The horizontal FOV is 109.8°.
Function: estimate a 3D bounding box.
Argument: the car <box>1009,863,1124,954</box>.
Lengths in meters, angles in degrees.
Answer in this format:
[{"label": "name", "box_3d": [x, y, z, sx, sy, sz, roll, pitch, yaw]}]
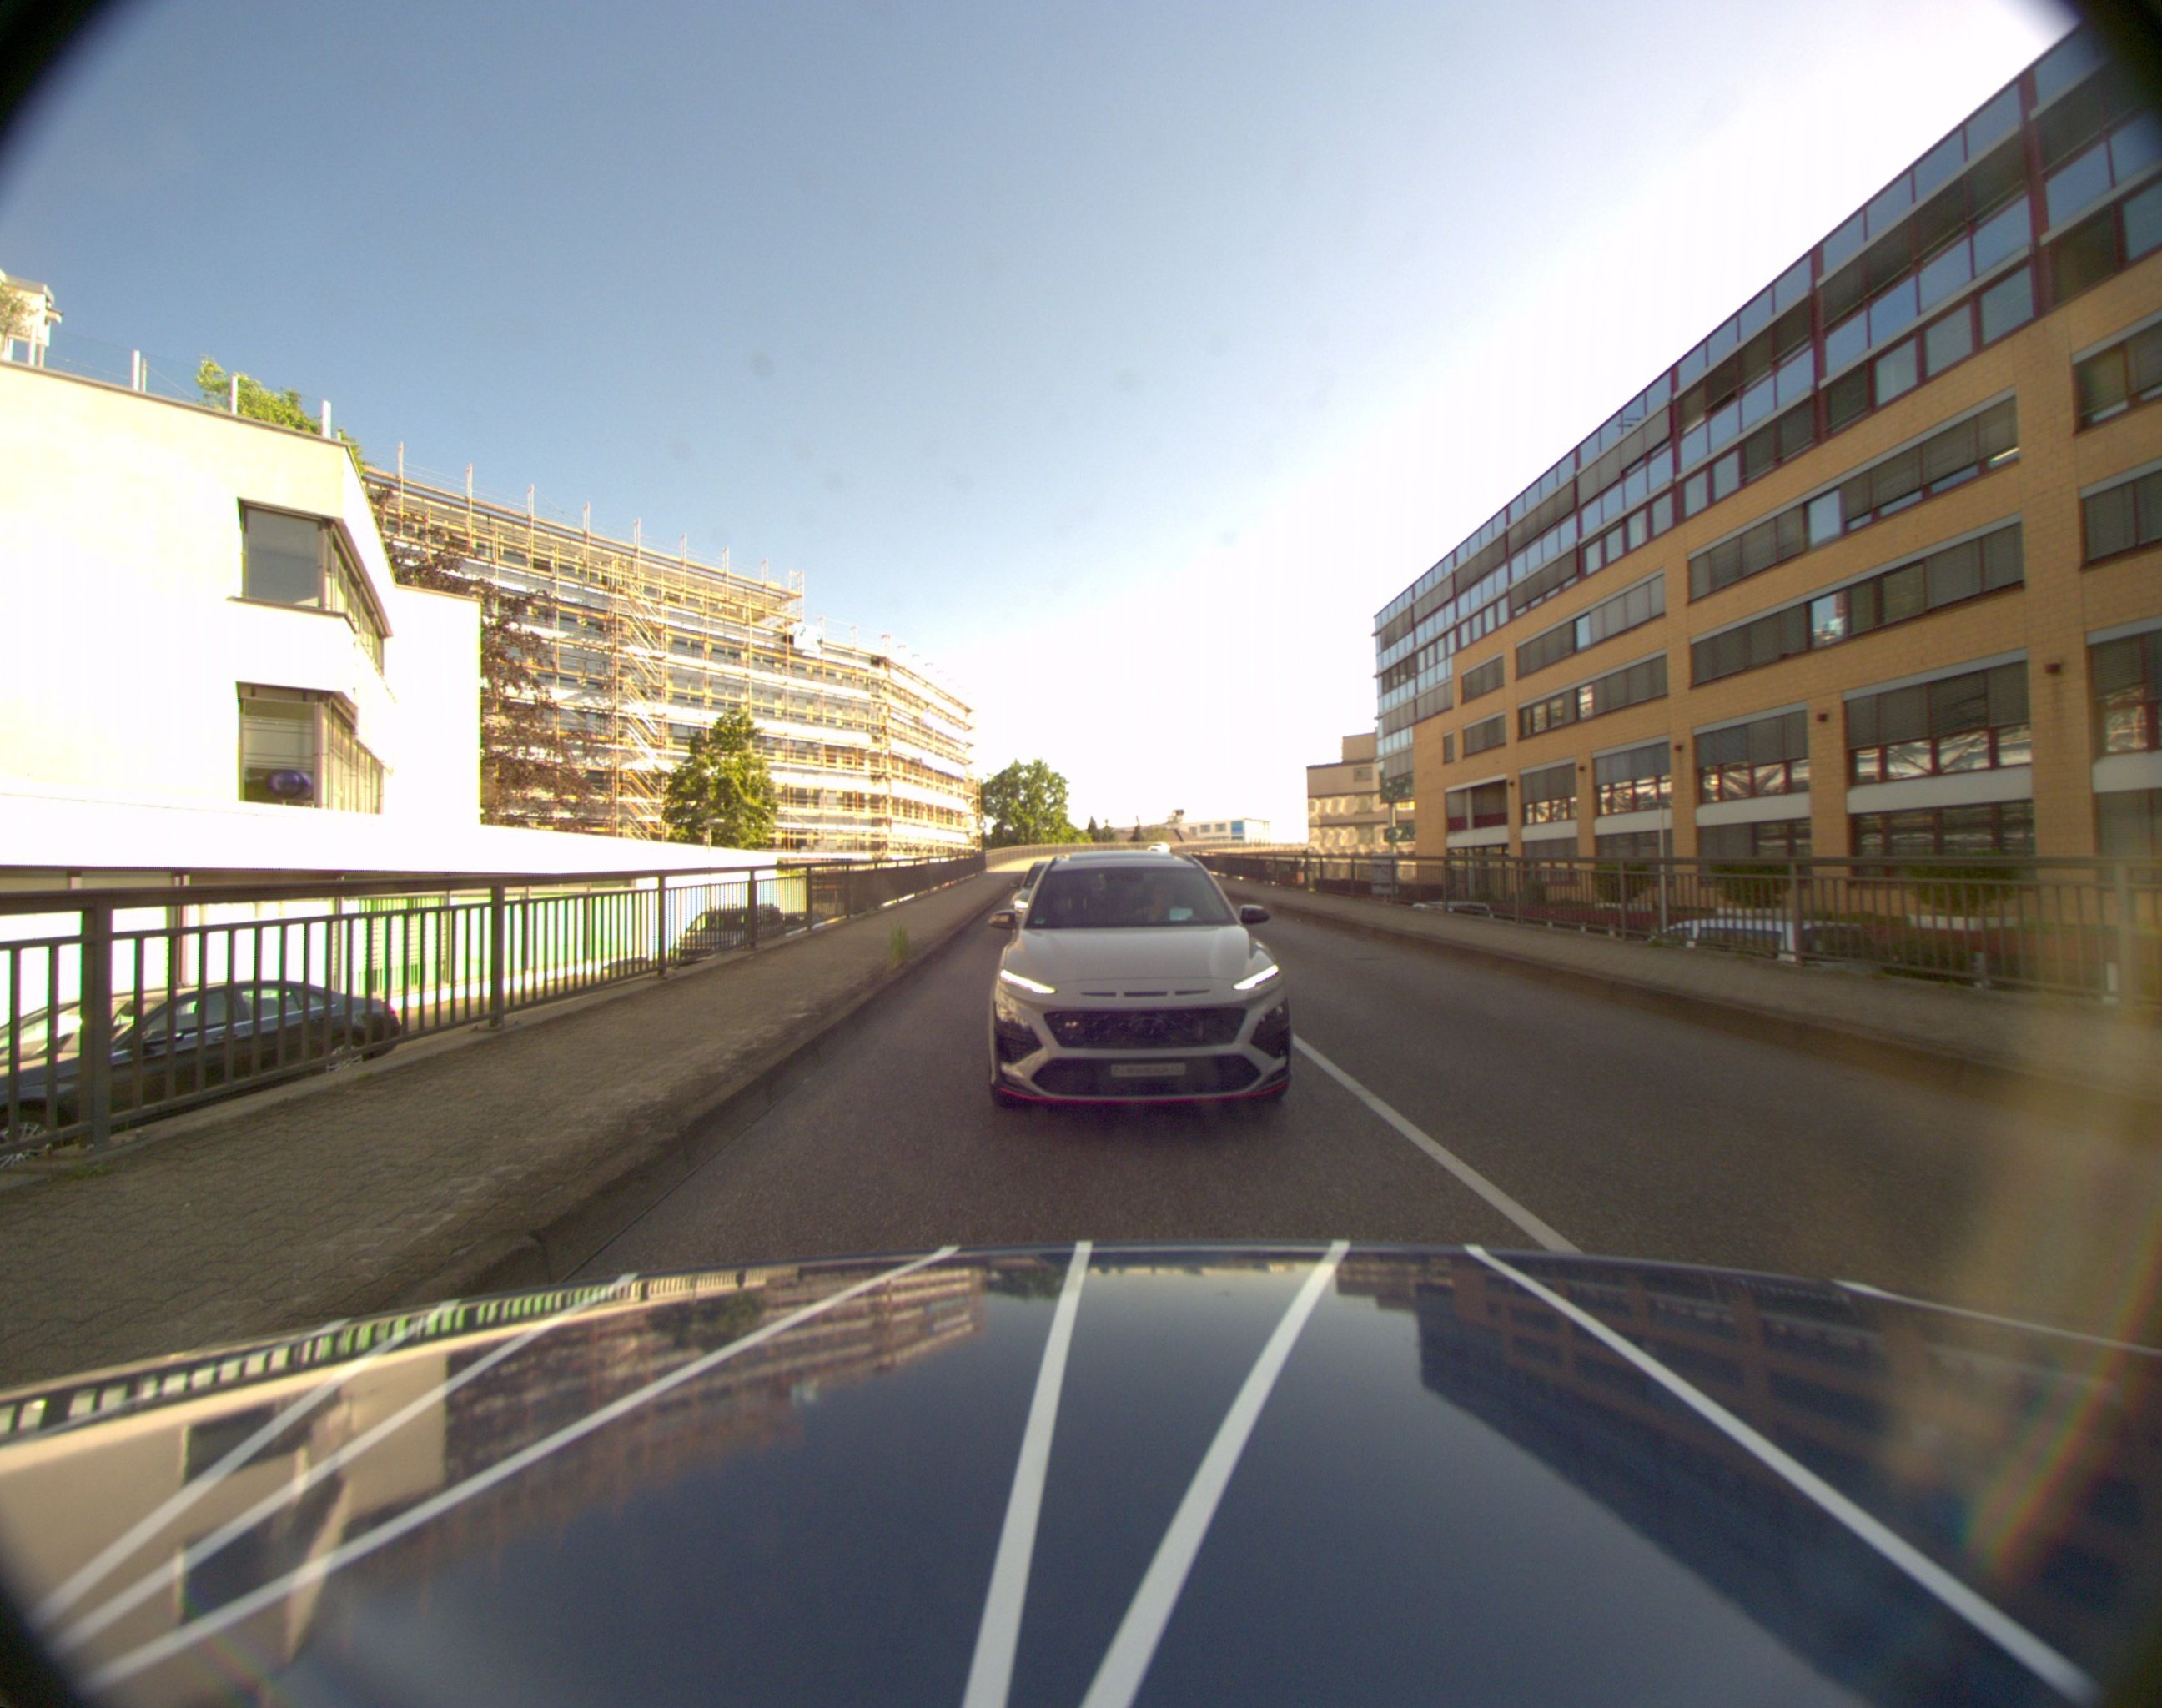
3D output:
[{"label": "car", "box_3d": [-0.285, 0.933, 14.738, 1.902, 1.433, 4.126, 0, 0, -1]}]

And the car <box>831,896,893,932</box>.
[{"label": "car", "box_3d": [-10.211, 2.775, 35.676, 1.726, 1.383, 4.000, -2, -1, -1]}]

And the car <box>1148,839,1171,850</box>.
[{"label": "car", "box_3d": [10.846, -1.334, 104.577, 1.948, 1.456, 4.006, 4, 3, 23]}]

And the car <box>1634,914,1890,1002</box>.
[{"label": "car", "box_3d": [13.050, 1.936, 14.921, 1.580, 1.261, 3.809, 0, -1, -1]}]

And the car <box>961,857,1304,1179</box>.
[{"label": "car", "box_3d": [0.290, 0.867, 5.892, 1.749, 1.637, 4.001, 0, -1, 1]}]

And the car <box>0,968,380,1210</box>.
[{"label": "car", "box_3d": [-9.595, 2.169, 7.416, 1.726, 1.513, 4.001, -2, -1, 1]}]

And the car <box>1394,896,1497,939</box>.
[{"label": "car", "box_3d": [12.743, 2.192, 26.828, 1.766, 1.261, 3.809, 0, -1, -1]}]

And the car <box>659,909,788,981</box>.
[{"label": "car", "box_3d": [-9.906, 2.473, 21.427, 1.726, 1.513, 4.000, -2, -1, -1]}]

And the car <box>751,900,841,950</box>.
[{"label": "car", "box_3d": [-10.088, 2.480, 27.215, 1.726, 1.383, 4.000, -2, -1, -1]}]
